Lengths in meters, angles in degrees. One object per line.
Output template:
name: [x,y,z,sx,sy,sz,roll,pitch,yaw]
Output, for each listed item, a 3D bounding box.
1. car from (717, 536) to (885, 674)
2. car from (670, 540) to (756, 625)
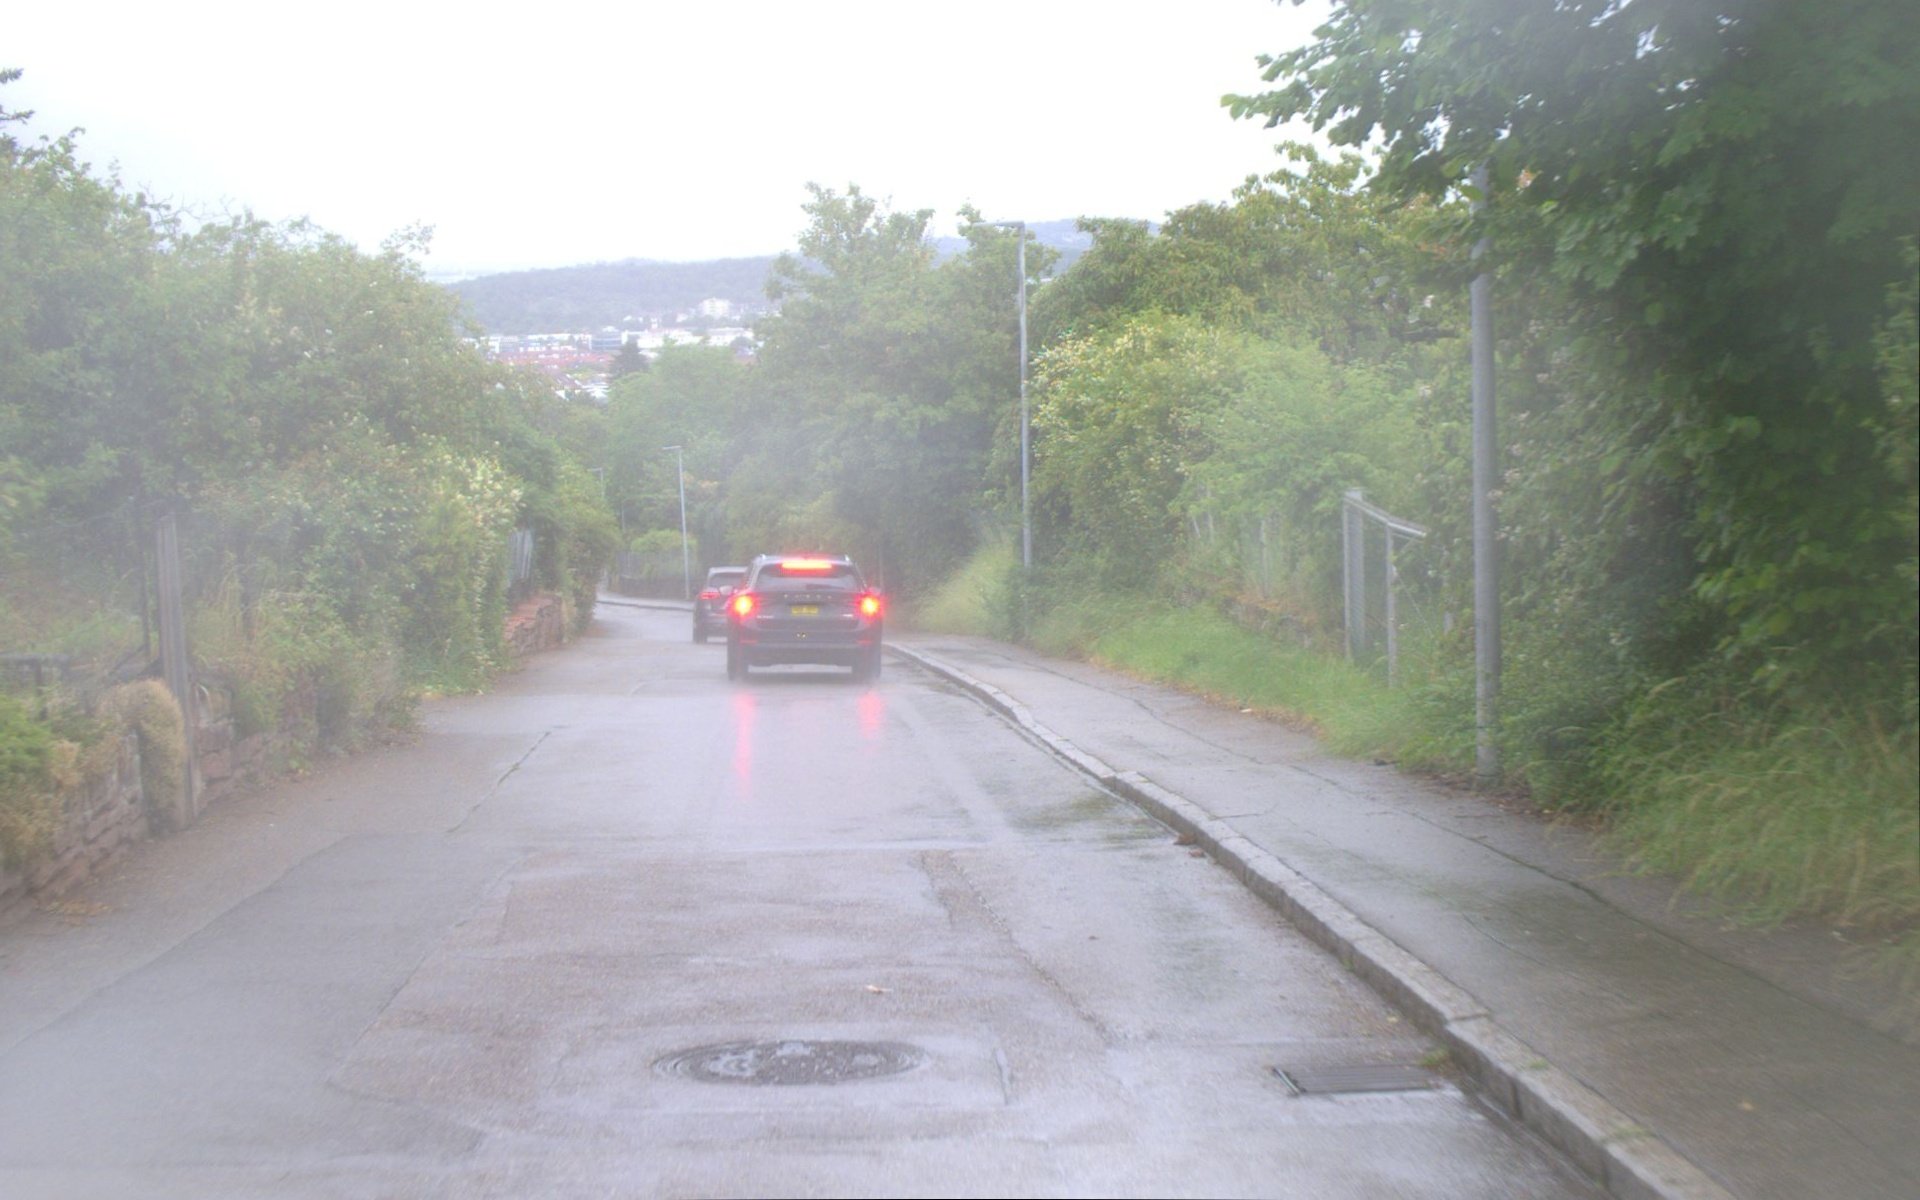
car: [-1.861,0.017,40.330,1.835,1.459,4.001,-1,2,-3]
car: [-4.975,-0.379,69.402,1.678,1.560,3.795,0,2,-4]
